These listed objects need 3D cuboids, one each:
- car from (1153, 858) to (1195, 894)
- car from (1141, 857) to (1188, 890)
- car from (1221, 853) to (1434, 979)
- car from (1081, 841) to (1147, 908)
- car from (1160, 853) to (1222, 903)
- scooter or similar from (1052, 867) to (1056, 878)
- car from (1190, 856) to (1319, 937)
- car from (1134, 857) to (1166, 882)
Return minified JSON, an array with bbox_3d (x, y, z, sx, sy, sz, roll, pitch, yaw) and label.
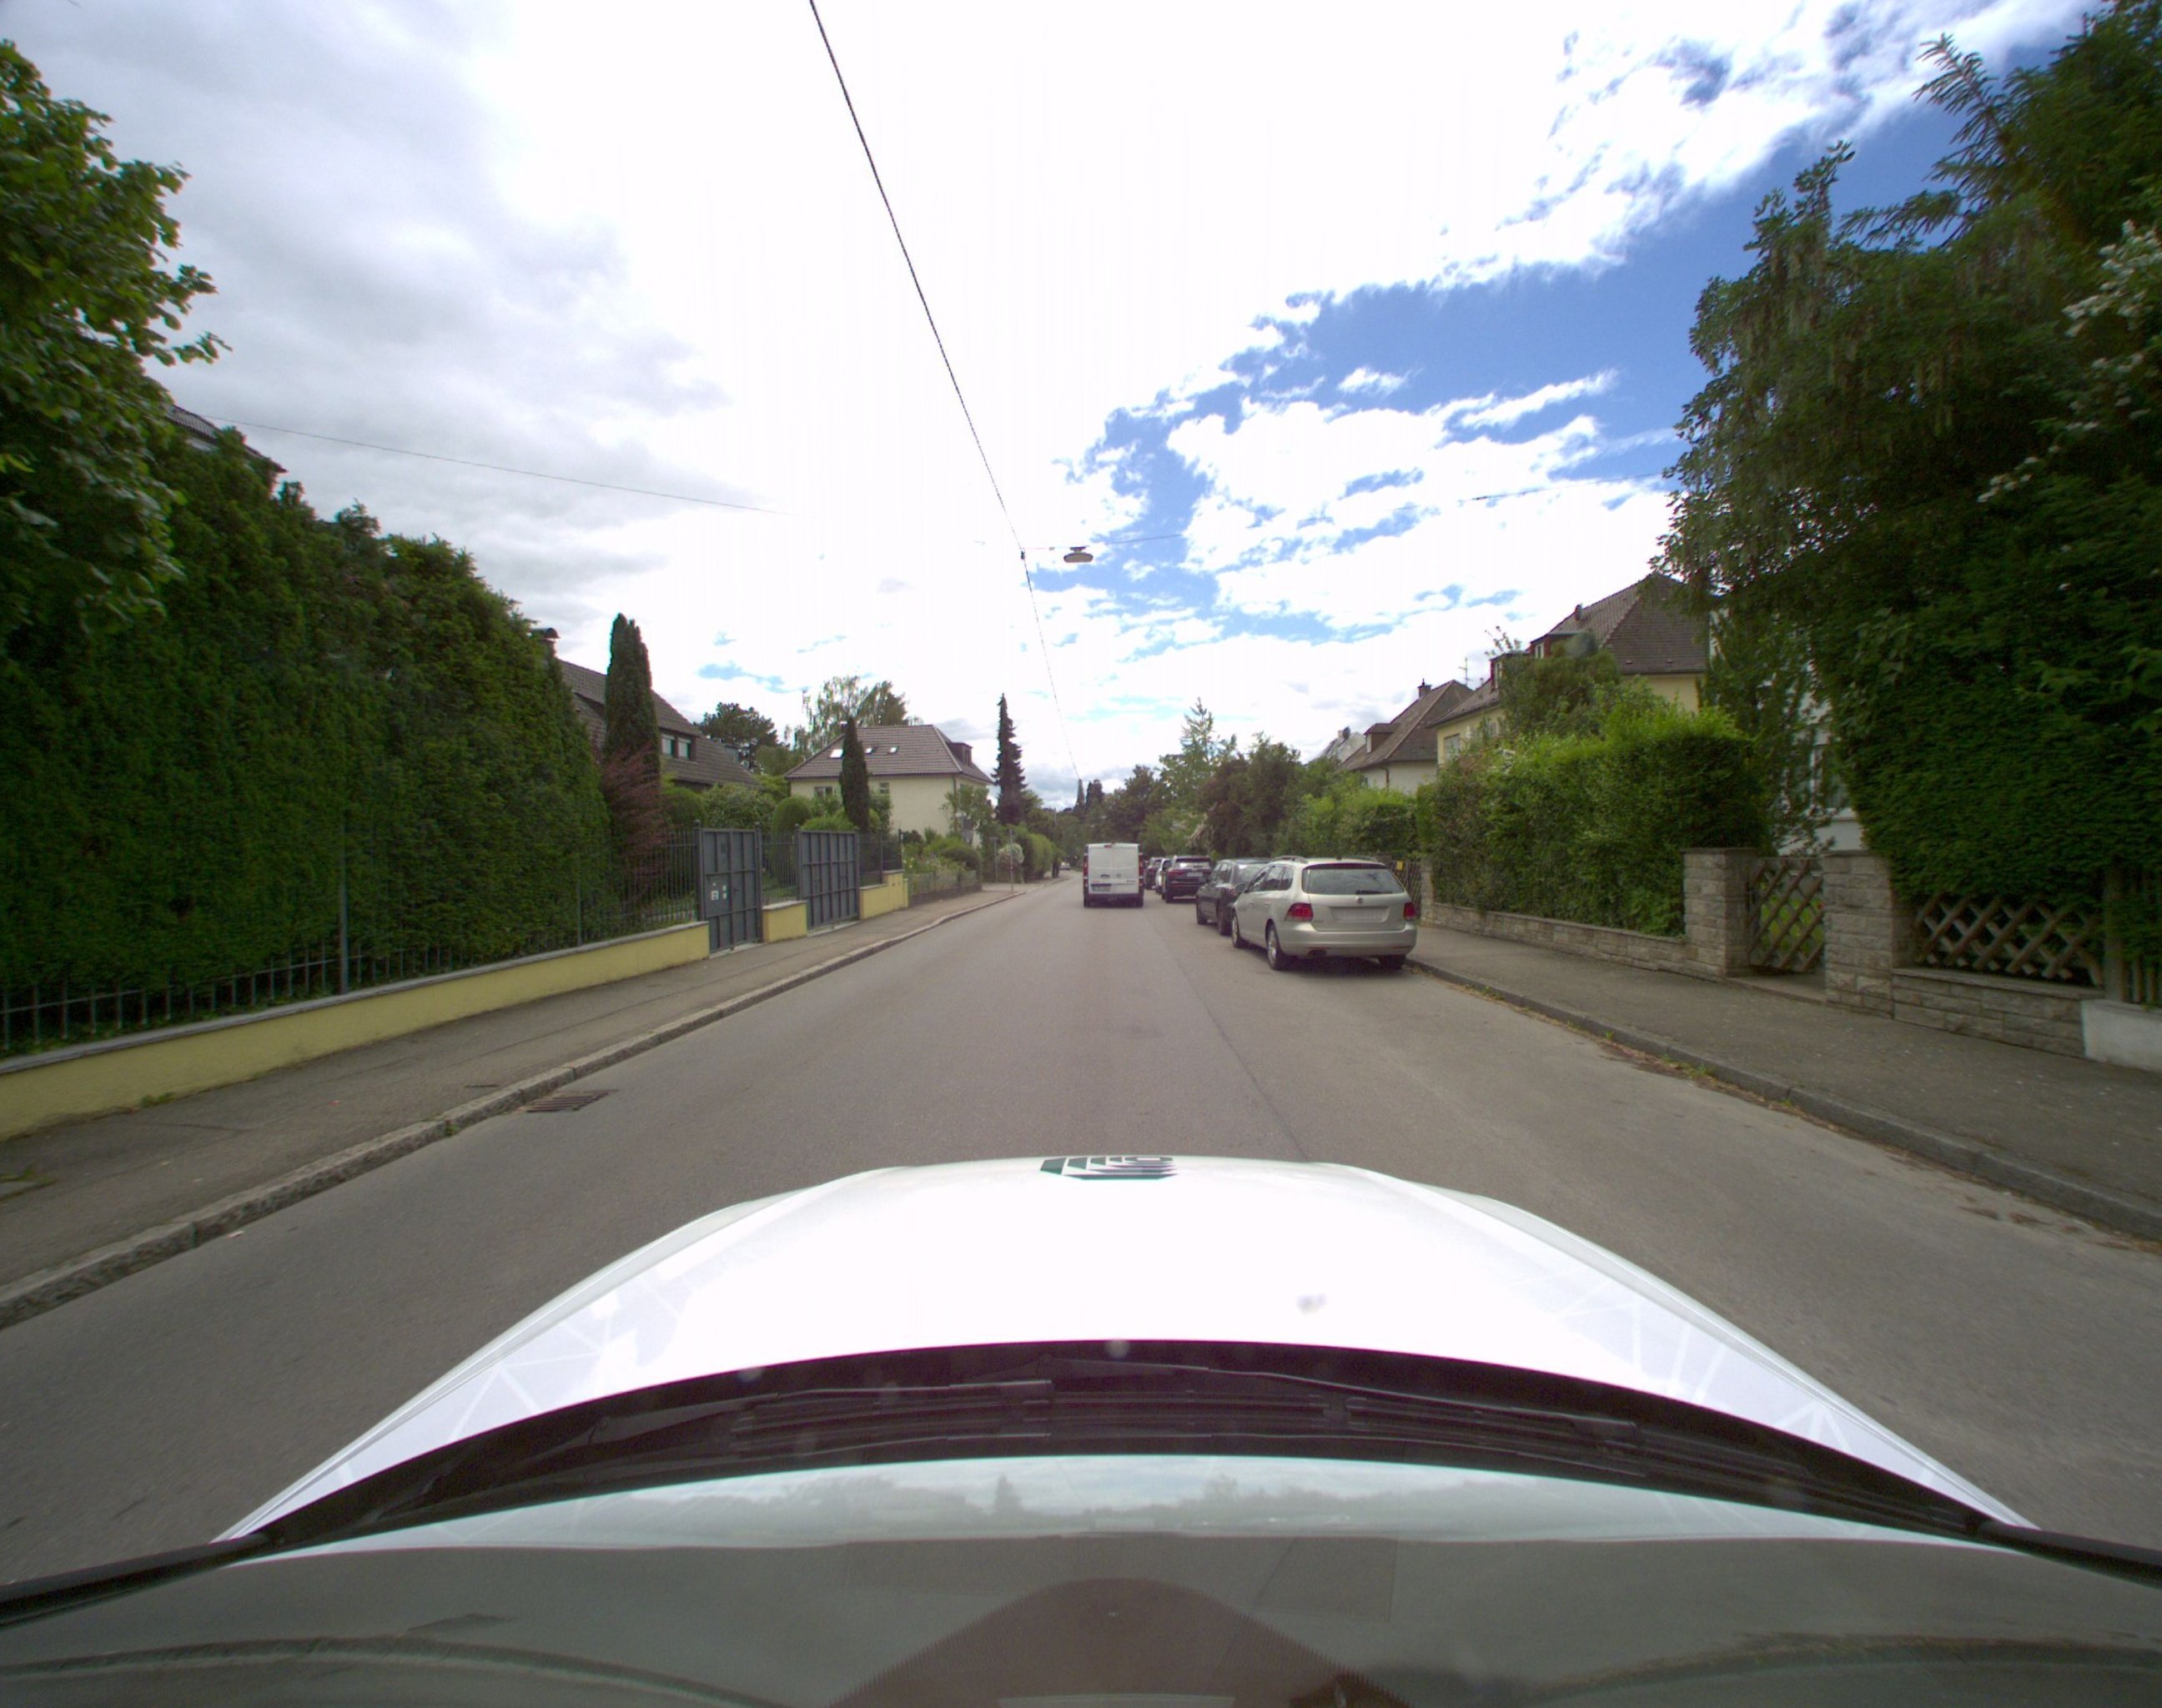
[{"bbox_3d":[4.027,0.957,35.738,1.592,1.510,3.014,-1,-1,2],"label":"car"},{"bbox_3d":[4.261,0.995,42.008,1.944,1.627,4.374,0,-1,0],"label":"car"},{"bbox_3d":[3.337,0.759,11.949,1.751,1.477,4.356,-1,0,-1],"label":"car"},{"bbox_3d":[0.974,0.614,26.371,1.924,1.964,4.400,0,0,-1],"label":"car"},{"bbox_3d":[3.756,0.818,28.467,1.793,1.592,4.144,-1,-1,3],"label":"car"},{"bbox_3d":[-2.971,2.032,90.653,0.390,1.171,1.270,0,-1,0],"label":"scooter or similar"},{"bbox_3d":[3.460,0.790,16.966,1.712,1.460,4.138,-1,0,-1],"label":"car"},{"bbox_3d":[4.710,1.084,56.089,1.844,1.627,4.169,0,-1,1],"label":"car"}]
